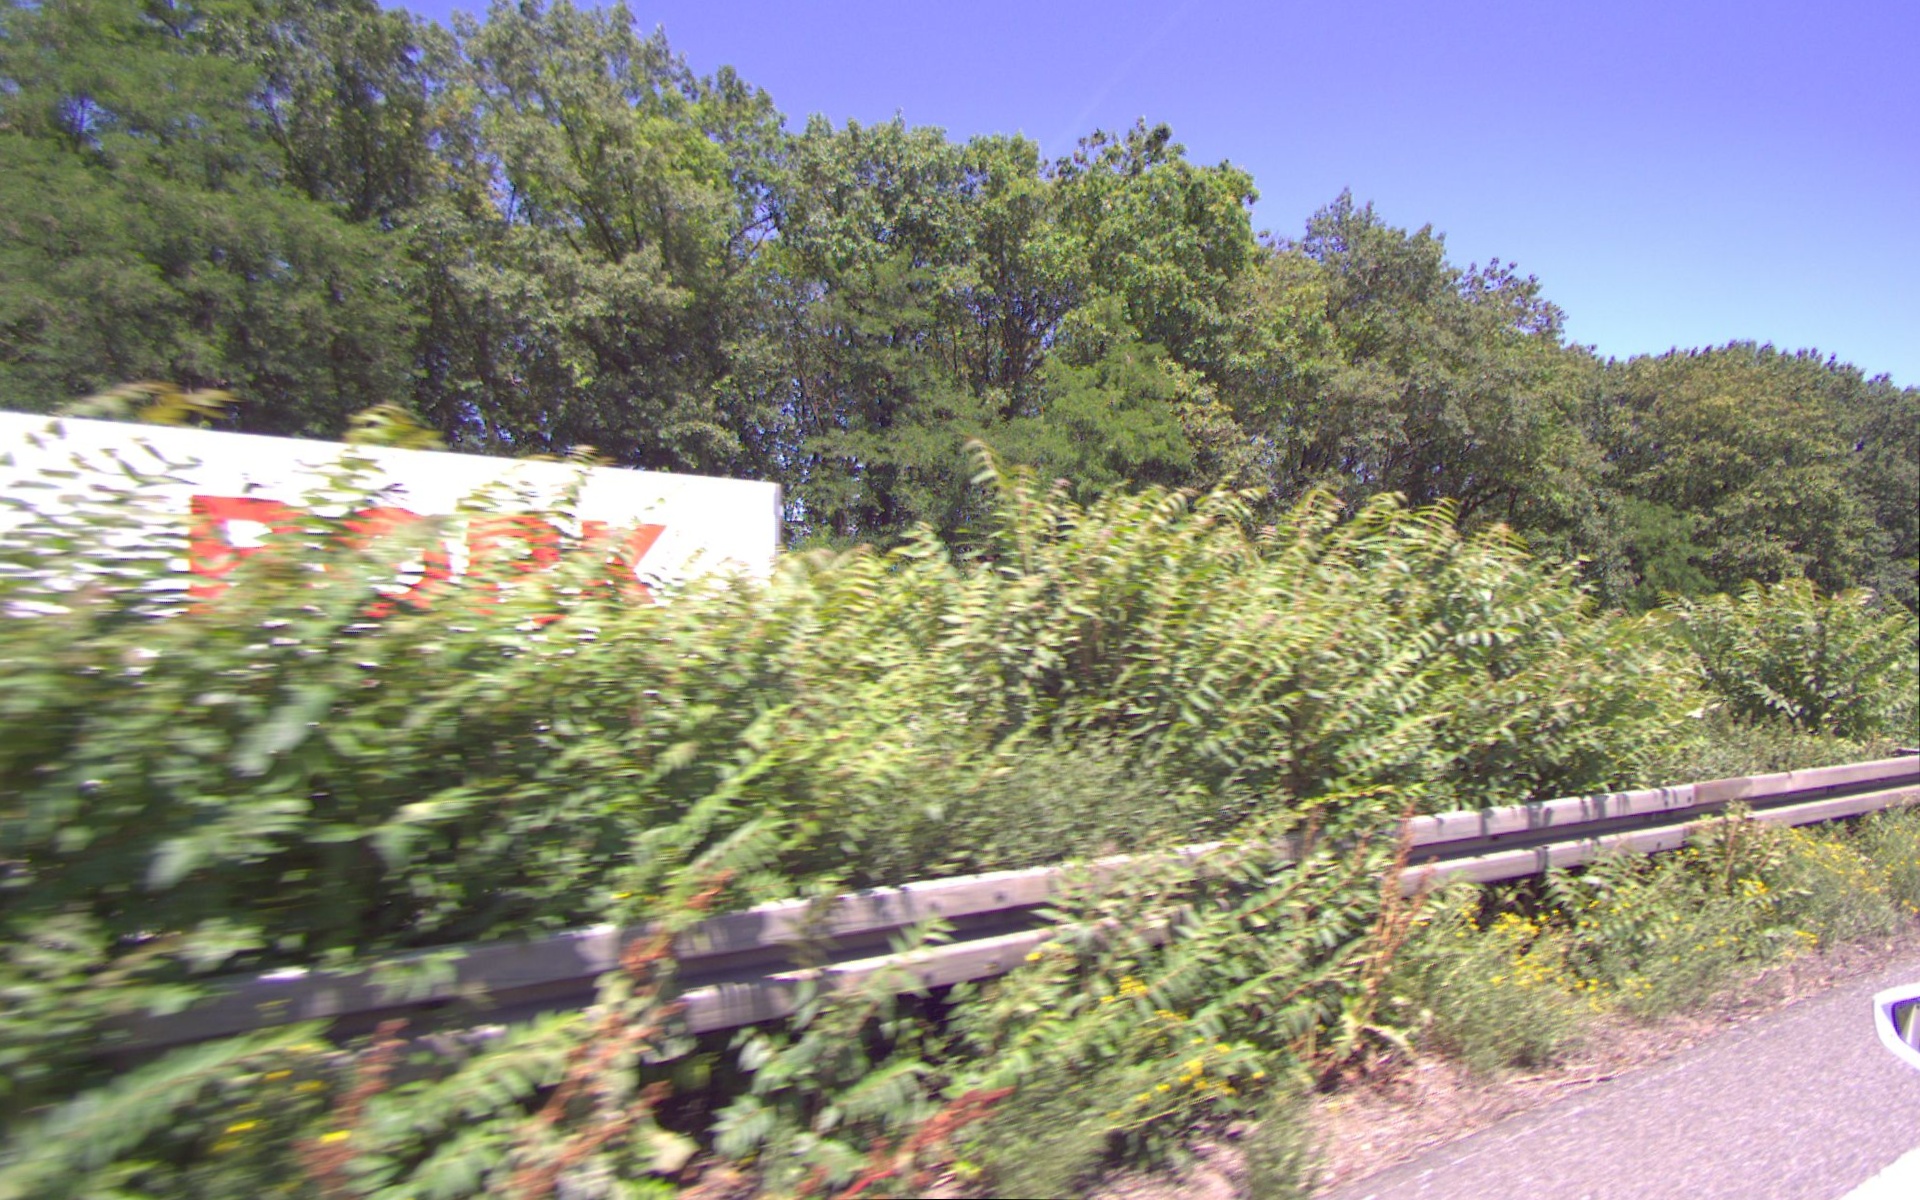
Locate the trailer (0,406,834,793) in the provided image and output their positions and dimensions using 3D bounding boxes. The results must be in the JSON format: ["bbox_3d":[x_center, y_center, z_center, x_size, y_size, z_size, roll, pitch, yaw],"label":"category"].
[{"bbox_3d":[-8.190,0.077,13.485,12.764,4.103,2.907,2,-1,-30],"label":"trailer"}]
